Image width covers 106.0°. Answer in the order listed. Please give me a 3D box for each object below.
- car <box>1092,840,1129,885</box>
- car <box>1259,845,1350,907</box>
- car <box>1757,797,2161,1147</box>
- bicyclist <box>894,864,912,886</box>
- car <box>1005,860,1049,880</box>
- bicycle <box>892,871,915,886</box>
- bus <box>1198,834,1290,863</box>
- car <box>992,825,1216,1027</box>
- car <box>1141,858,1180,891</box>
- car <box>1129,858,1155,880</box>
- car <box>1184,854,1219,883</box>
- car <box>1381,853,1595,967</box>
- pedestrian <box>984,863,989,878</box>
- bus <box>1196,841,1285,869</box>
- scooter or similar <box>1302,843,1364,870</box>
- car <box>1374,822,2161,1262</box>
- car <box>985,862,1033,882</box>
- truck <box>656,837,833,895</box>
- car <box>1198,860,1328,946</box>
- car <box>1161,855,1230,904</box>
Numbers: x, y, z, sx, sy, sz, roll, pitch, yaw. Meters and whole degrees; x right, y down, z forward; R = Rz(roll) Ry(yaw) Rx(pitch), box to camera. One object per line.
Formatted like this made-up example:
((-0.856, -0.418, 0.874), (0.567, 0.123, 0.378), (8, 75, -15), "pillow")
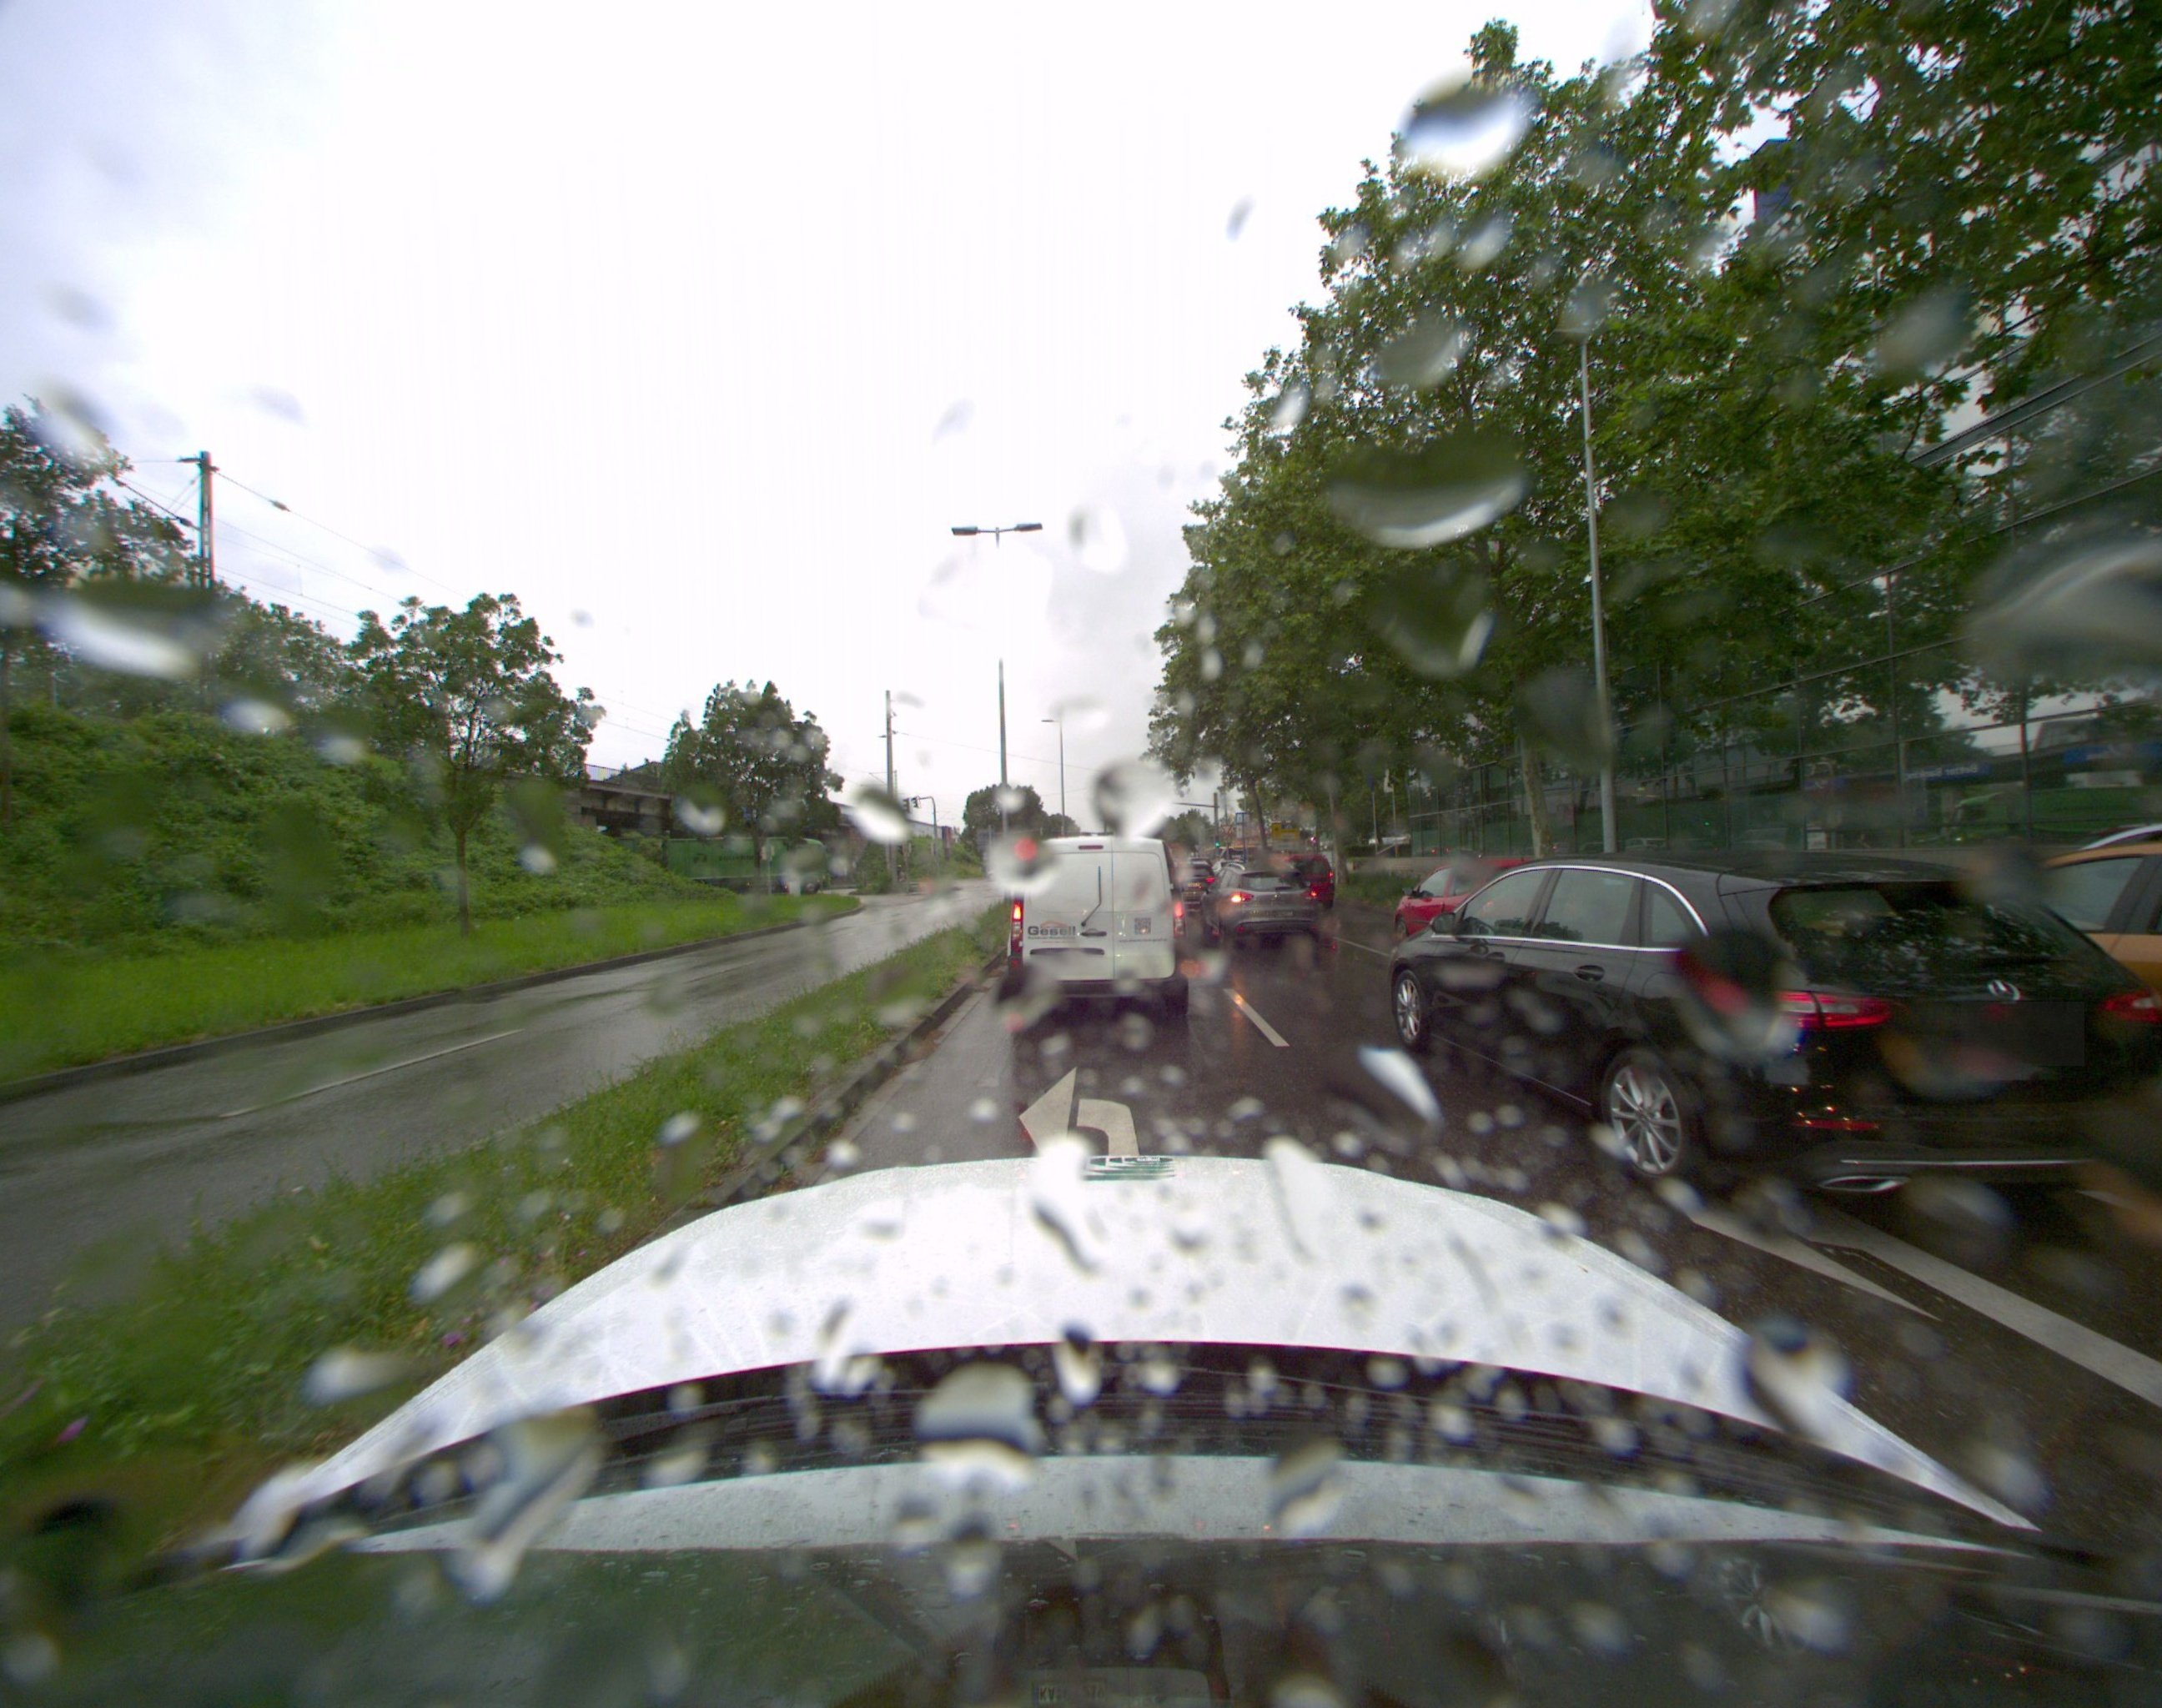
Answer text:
((1.611, 0.449, 44.469), (1.847, 2.296, 3.844), (-1, 0, 2), "car")
((6.677, 0.648, 24.747), (1.704, 1.694, 4.273), (0, -1, 2), "car")
((6.050, 0.571, 4.276), (1.668, 1.685, 4.149), (0, 0, 2), "car")
((-12.103, 1.412, 55.442), (1.045, 1.450, 0.723), (-2, 0, -23), "bicyclist")
((-5.434, 1.609, 81.879), (3.949, 1.717, 2.012), (-4, -1, 29), "car")
((-12.128, 1.665, 55.532), (1.045, 0.952, 2.866), (-2, 0, -22), "bicycle")
((21.999, -0.705, 110.105), (11.925, 3.423, 2.316), (-2, 0, 1), "bus")
((0.282, 0.660, 9.651), (1.986, 1.776, 4.587), (-1, 0, 2), "car")
((4.317, 1.081, 44.812), (1.847, 1.649, 3.844), (-1, 0, 2), "car")
((4.778, 1.157, 63.819), (1.847, 1.650, 3.844), (-1, -1, 2), "car")
((7.588, 0.912, 51.528), (1.701, 1.728, 3.844), (-1, 0, 2), "car")
((5.915, 0.732, 12.285), (1.563, 1.463, 3.389), (-1, 0, 1), "car")
((-11.146, 1.932, 96.048), (0.541, 1.716, 0.563), (0, -1, -2), "pedestrian")
((22.304, 0.129, 114.063), (11.939, 3.423, 2.481), (-2, 0, -2), "bus")
((23.521, 0.270, 76.193), (1.905, 2.446, 5.257), (-1, -1, -38), "scooter or similar")
((3.374, 0.685, 4.974), (1.741, 1.554, 4.091), (-1, 0, 1), "car")
((-6.339, 1.549, 71.674), (3.777, 1.543, 2.013), (-4, -2, 35), "car")
((-21.219, 0.665, 51.860), (10.105, 3.371, 2.322), (-1, 0, -35), "truck")
((3.317, 0.831, 15.494), (1.677, 1.408, 3.843), (0, 0, 1), "car")
((3.716, 0.793, 27.024), (1.847, 1.460, 3.844), (-1, 0, 2), "car")
